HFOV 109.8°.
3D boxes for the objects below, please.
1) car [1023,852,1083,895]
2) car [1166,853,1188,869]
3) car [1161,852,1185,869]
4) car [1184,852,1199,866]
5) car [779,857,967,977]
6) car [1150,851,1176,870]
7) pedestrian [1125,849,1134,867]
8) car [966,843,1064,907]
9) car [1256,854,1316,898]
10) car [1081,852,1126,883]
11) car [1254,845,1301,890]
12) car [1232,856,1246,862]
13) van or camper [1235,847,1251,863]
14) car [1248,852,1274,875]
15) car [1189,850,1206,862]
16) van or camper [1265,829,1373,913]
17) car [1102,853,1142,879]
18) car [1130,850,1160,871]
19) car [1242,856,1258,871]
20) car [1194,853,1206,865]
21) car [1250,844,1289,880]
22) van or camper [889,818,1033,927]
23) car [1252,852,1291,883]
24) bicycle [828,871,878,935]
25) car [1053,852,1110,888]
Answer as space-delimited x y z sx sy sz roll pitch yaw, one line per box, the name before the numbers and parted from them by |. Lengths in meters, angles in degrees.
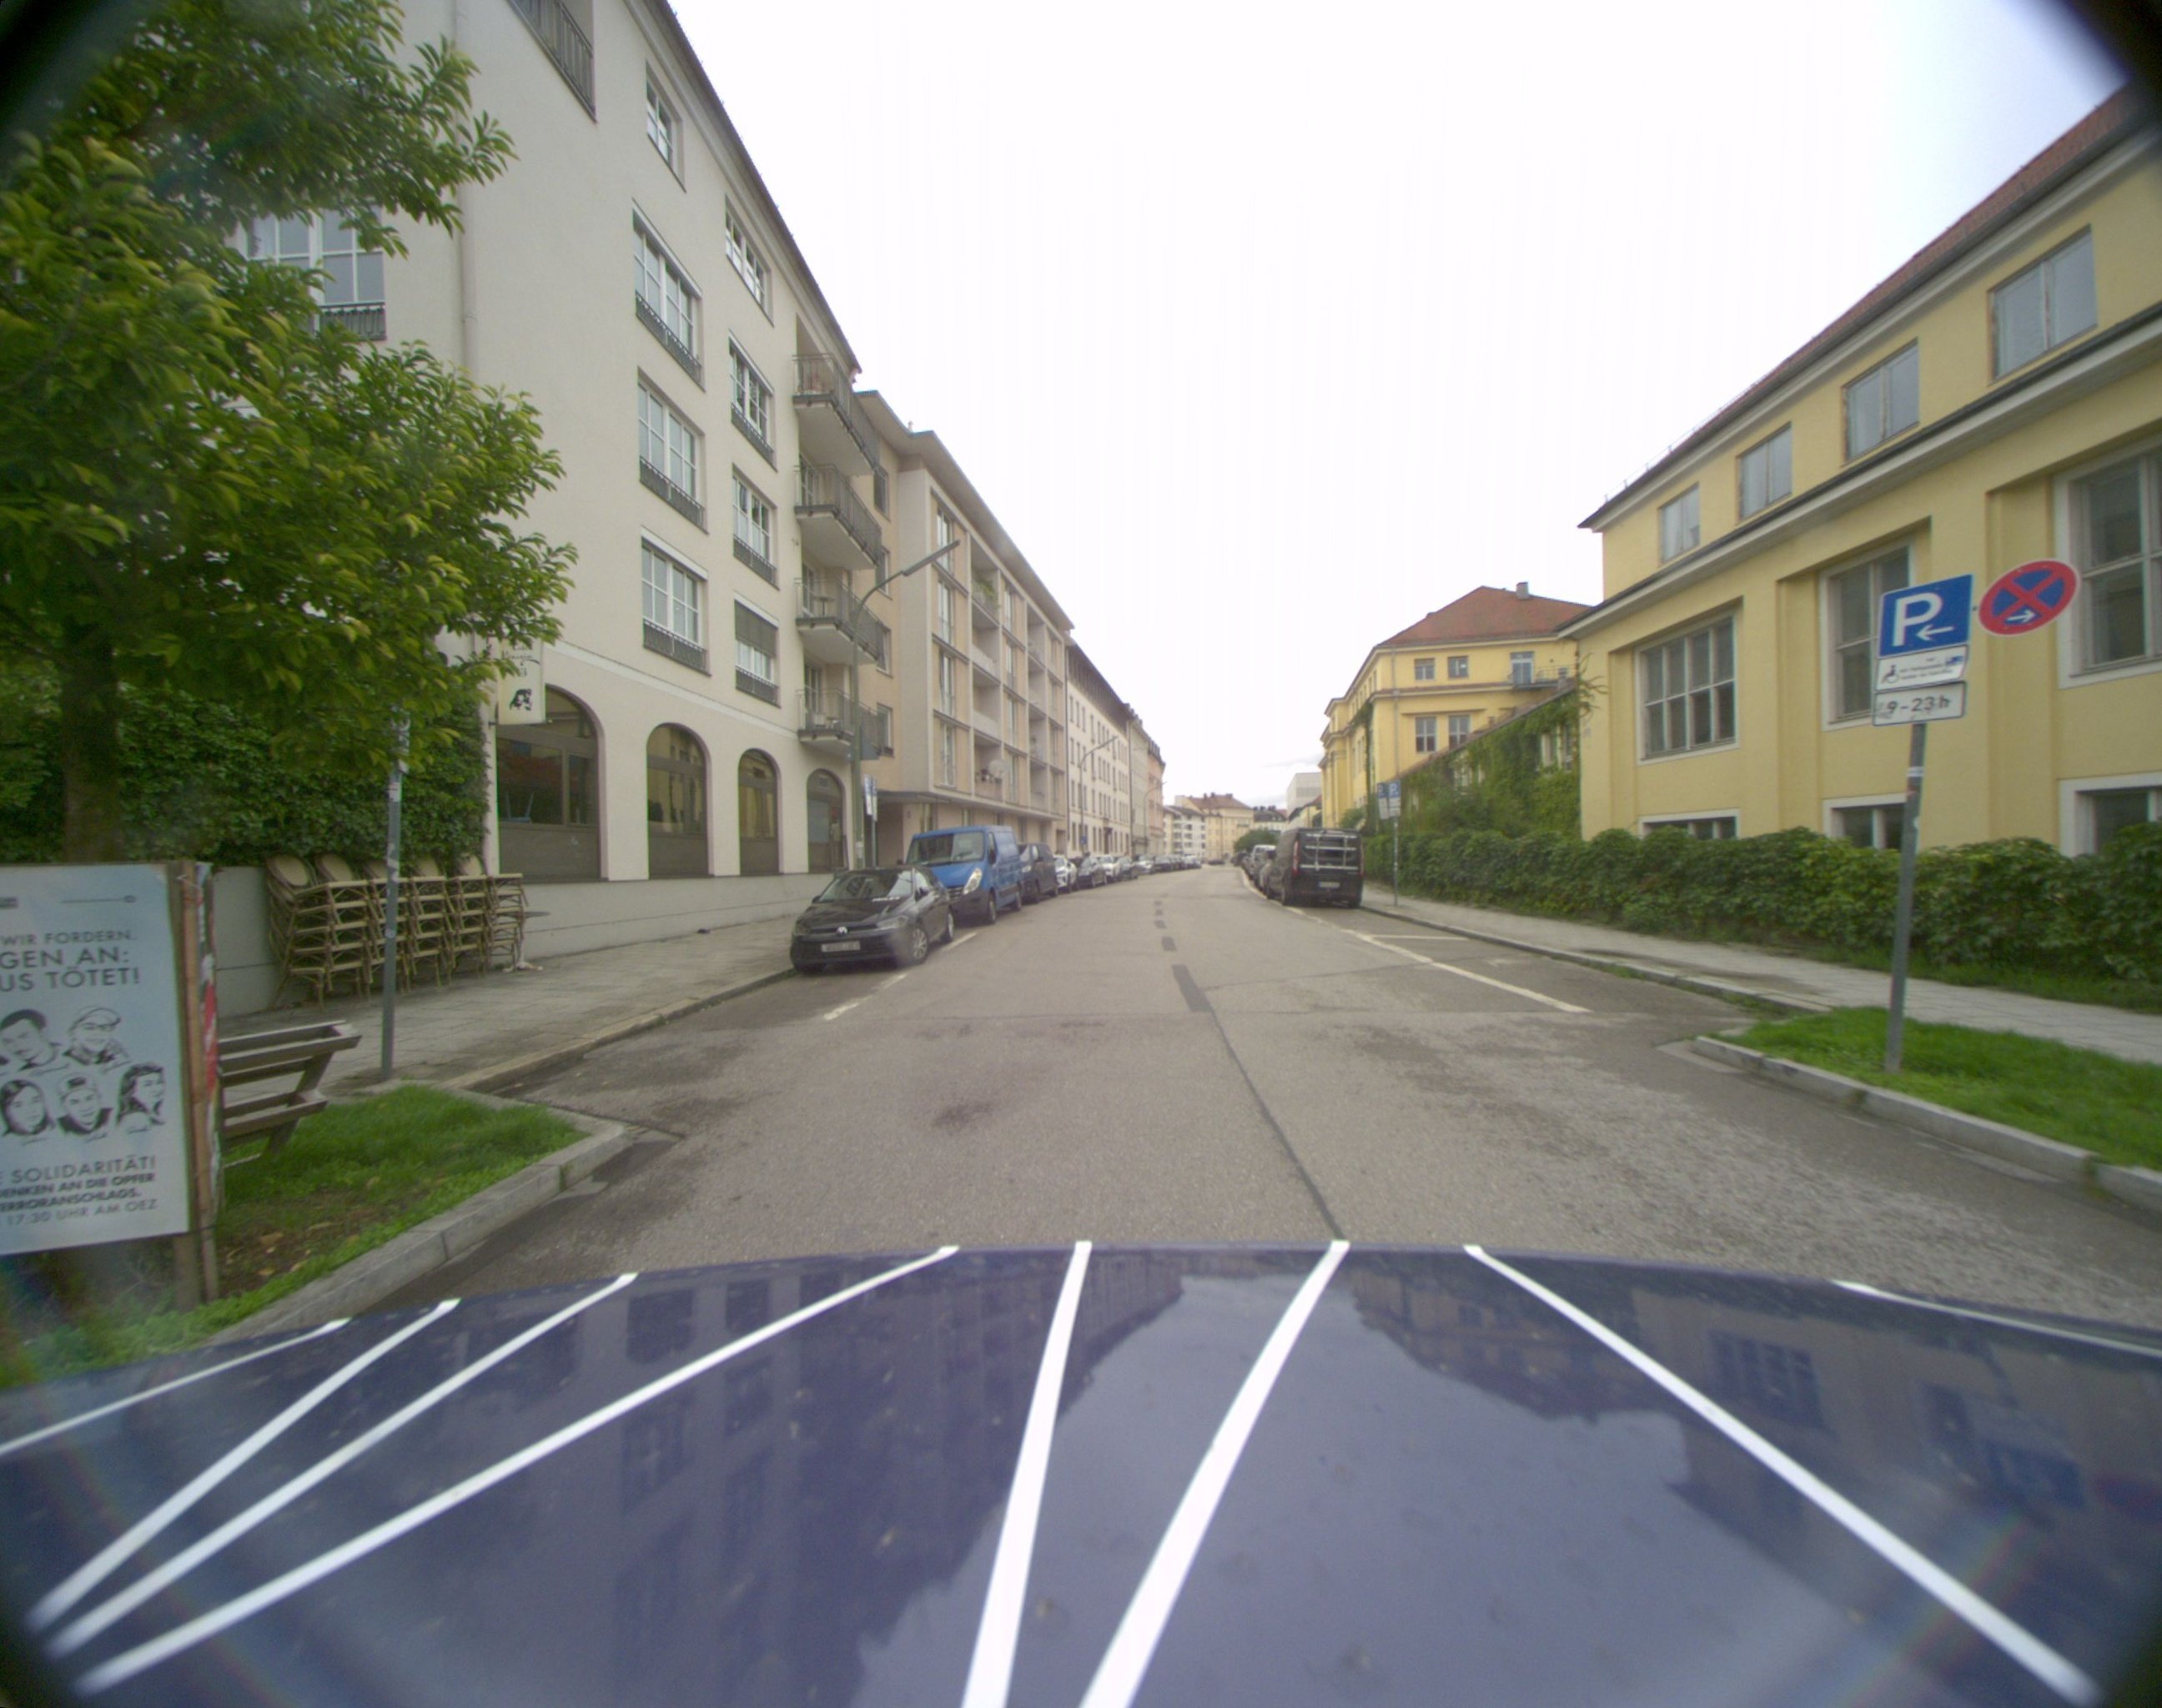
car | -1.015 0.716 29.693 1.742 1.528 4.275 0 0 6
car | 9.470 0.649 74.656 1.859 1.535 4.820 -1 0 11
car | 8.475 0.573 69.882 1.859 1.535 4.159 -1 0 11
car | 12.880 0.591 88.343 1.695 1.574 4.086 0 0 10
car | -2.996 0.822 11.826 1.708 1.509 3.958 0 1 2
car | 7.054 0.534 64.884 1.859 1.535 4.820 -1 0 11
pedestrian | 4.358 0.372 68.340 0.735 1.616 0.829 0 1 13
car | -1.932 0.600 23.975 1.968 1.806 4.938 0 0 8
car | 7.053 0.713 26.435 1.622 1.370 4.075 0 0 10
car | 1.235 0.667 39.948 1.742 1.490 4.222 -1 0 10
car | 8.094 0.532 31.628 1.622 1.719 4.428 0 0 11
car | 47.643 1.461 228.954 3.993 1.849 2.002 0 0 12
van or camper | 29.600 0.182 138.784 2.140 2.791 5.575 1 0 5
car | 12.321 0.642 52.270 1.581 1.447 3.907 -1 0 11
car | 14.467 0.204 94.304 1.694 1.443 4.087 -1 0 14
van or camper | 6.429 0.418 21.088 1.964 2.053 4.755 0 0 6
car | 2.484 0.656 44.744 1.799 1.412 4.486 -1 0 10
car | 4.718 0.460 55.485 1.674 1.526 3.885 0 0 12
car | 18.971 1.052 85.229 1.682 1.487 3.989 1 1 12
car | 17.335 0.694 110.650 1.606 1.632 3.634 0 0 11
car | 10.321 0.428 41.855 1.996 1.864 4.763 0 0 13
van or camper | -2.652 0.391 18.315 2.064 2.218 5.441 0 0 6
car | 9.202 0.619 36.959 1.704 1.414 4.429 0 0 12
bicycle | -4.640 0.972 15.567 0.667 1.181 1.588 -1 0 -5
car | 0.099 0.677 34.496 1.742 1.490 4.499 -1 0 11
